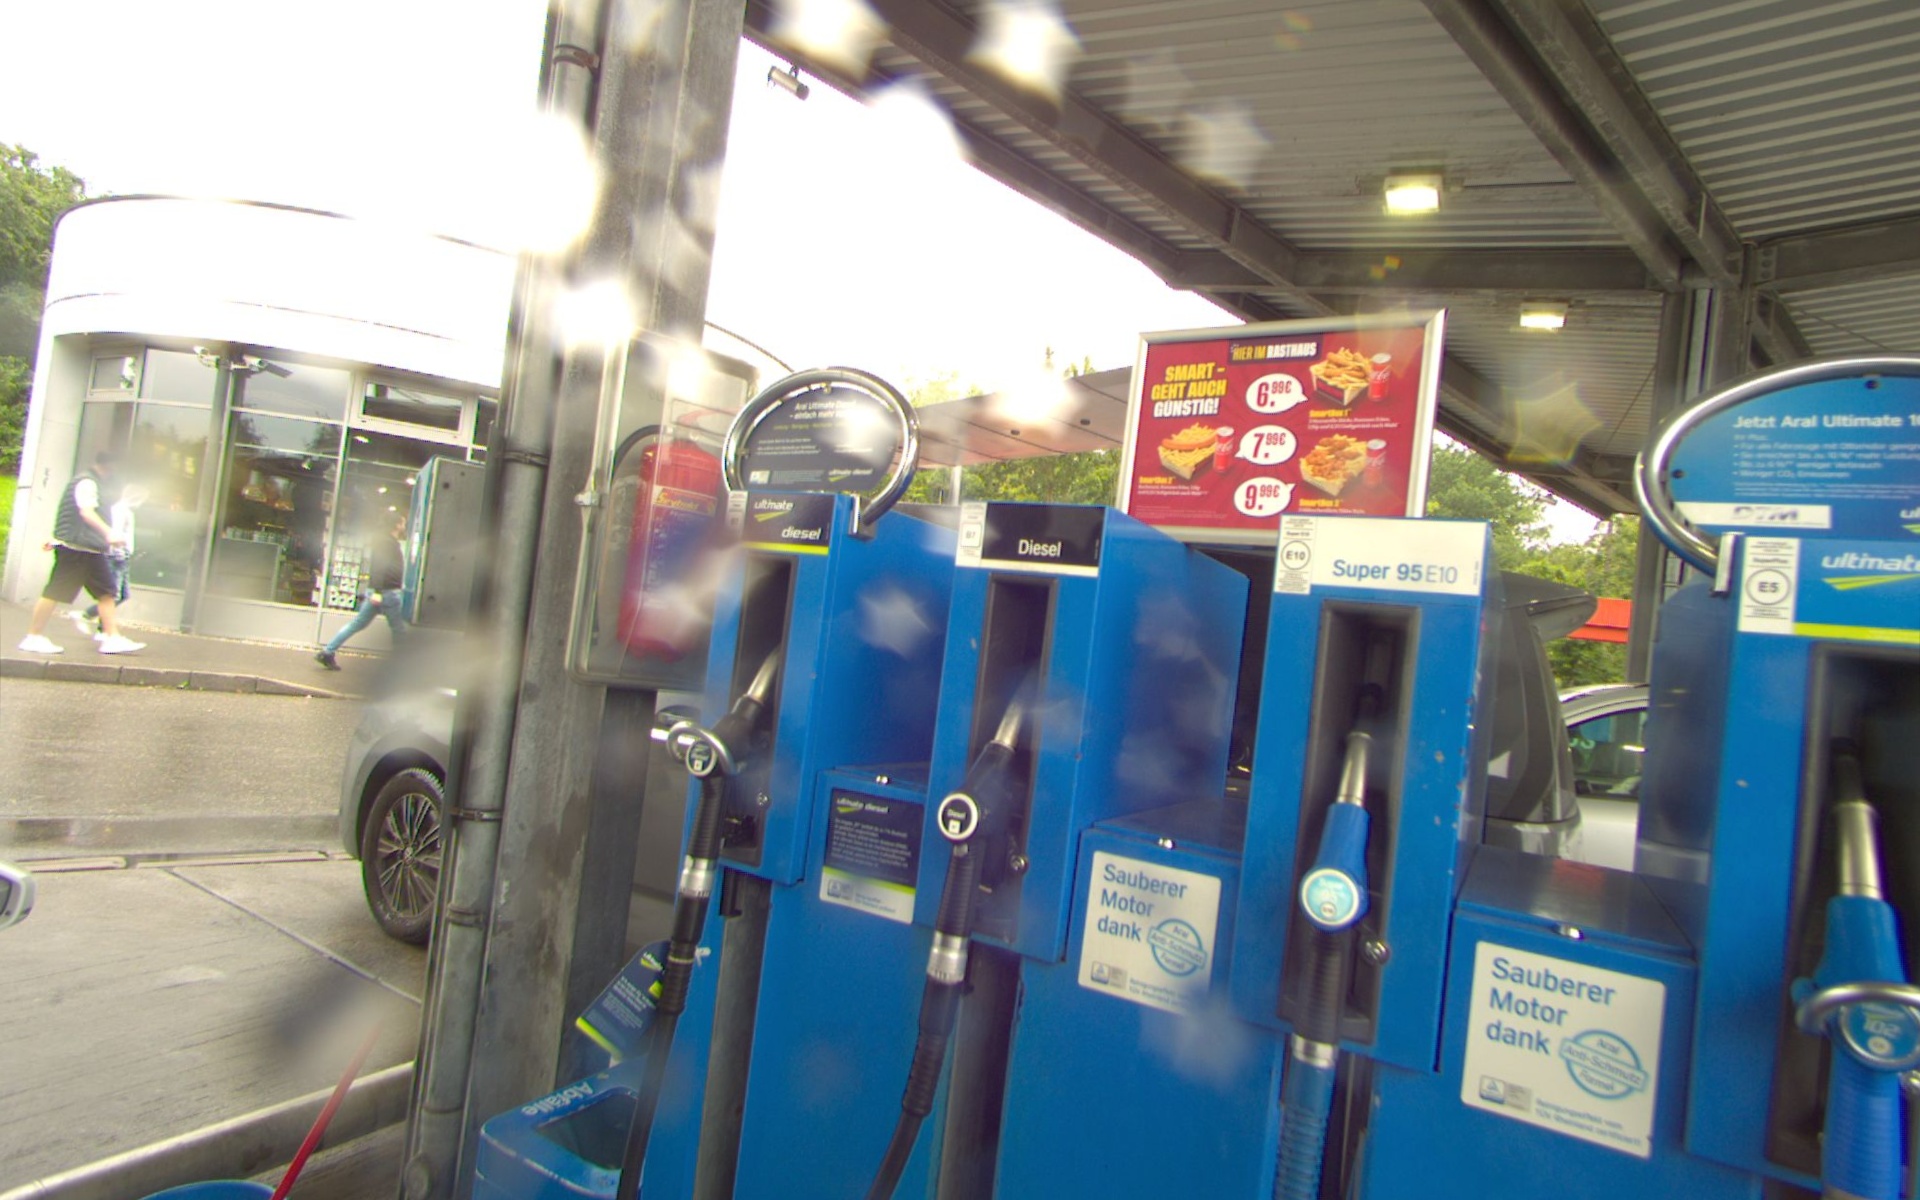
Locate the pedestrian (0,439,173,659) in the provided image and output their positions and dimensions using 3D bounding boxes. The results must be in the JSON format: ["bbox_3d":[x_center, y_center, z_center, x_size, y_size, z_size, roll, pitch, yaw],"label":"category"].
[{"bbox_3d":[-8.172,-0.452,9.440,0.965,1.871,0.767,7,0,-30],"label":"pedestrian"}]

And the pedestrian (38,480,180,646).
[{"bbox_3d":[-8.843,-0.371,10.489,0.882,1.569,0.655,7,0,-29],"label":"pedestrian"}]

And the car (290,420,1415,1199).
[{"bbox_3d":[-0.568,0.507,3.969,3.934,1.971,1.819,7,-1,32],"label":"car"}]

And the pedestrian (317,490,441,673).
[{"bbox_3d":[-6.541,-0.197,11.366,0.990,1.887,0.793,7,0,-30],"label":"pedestrian"}]
